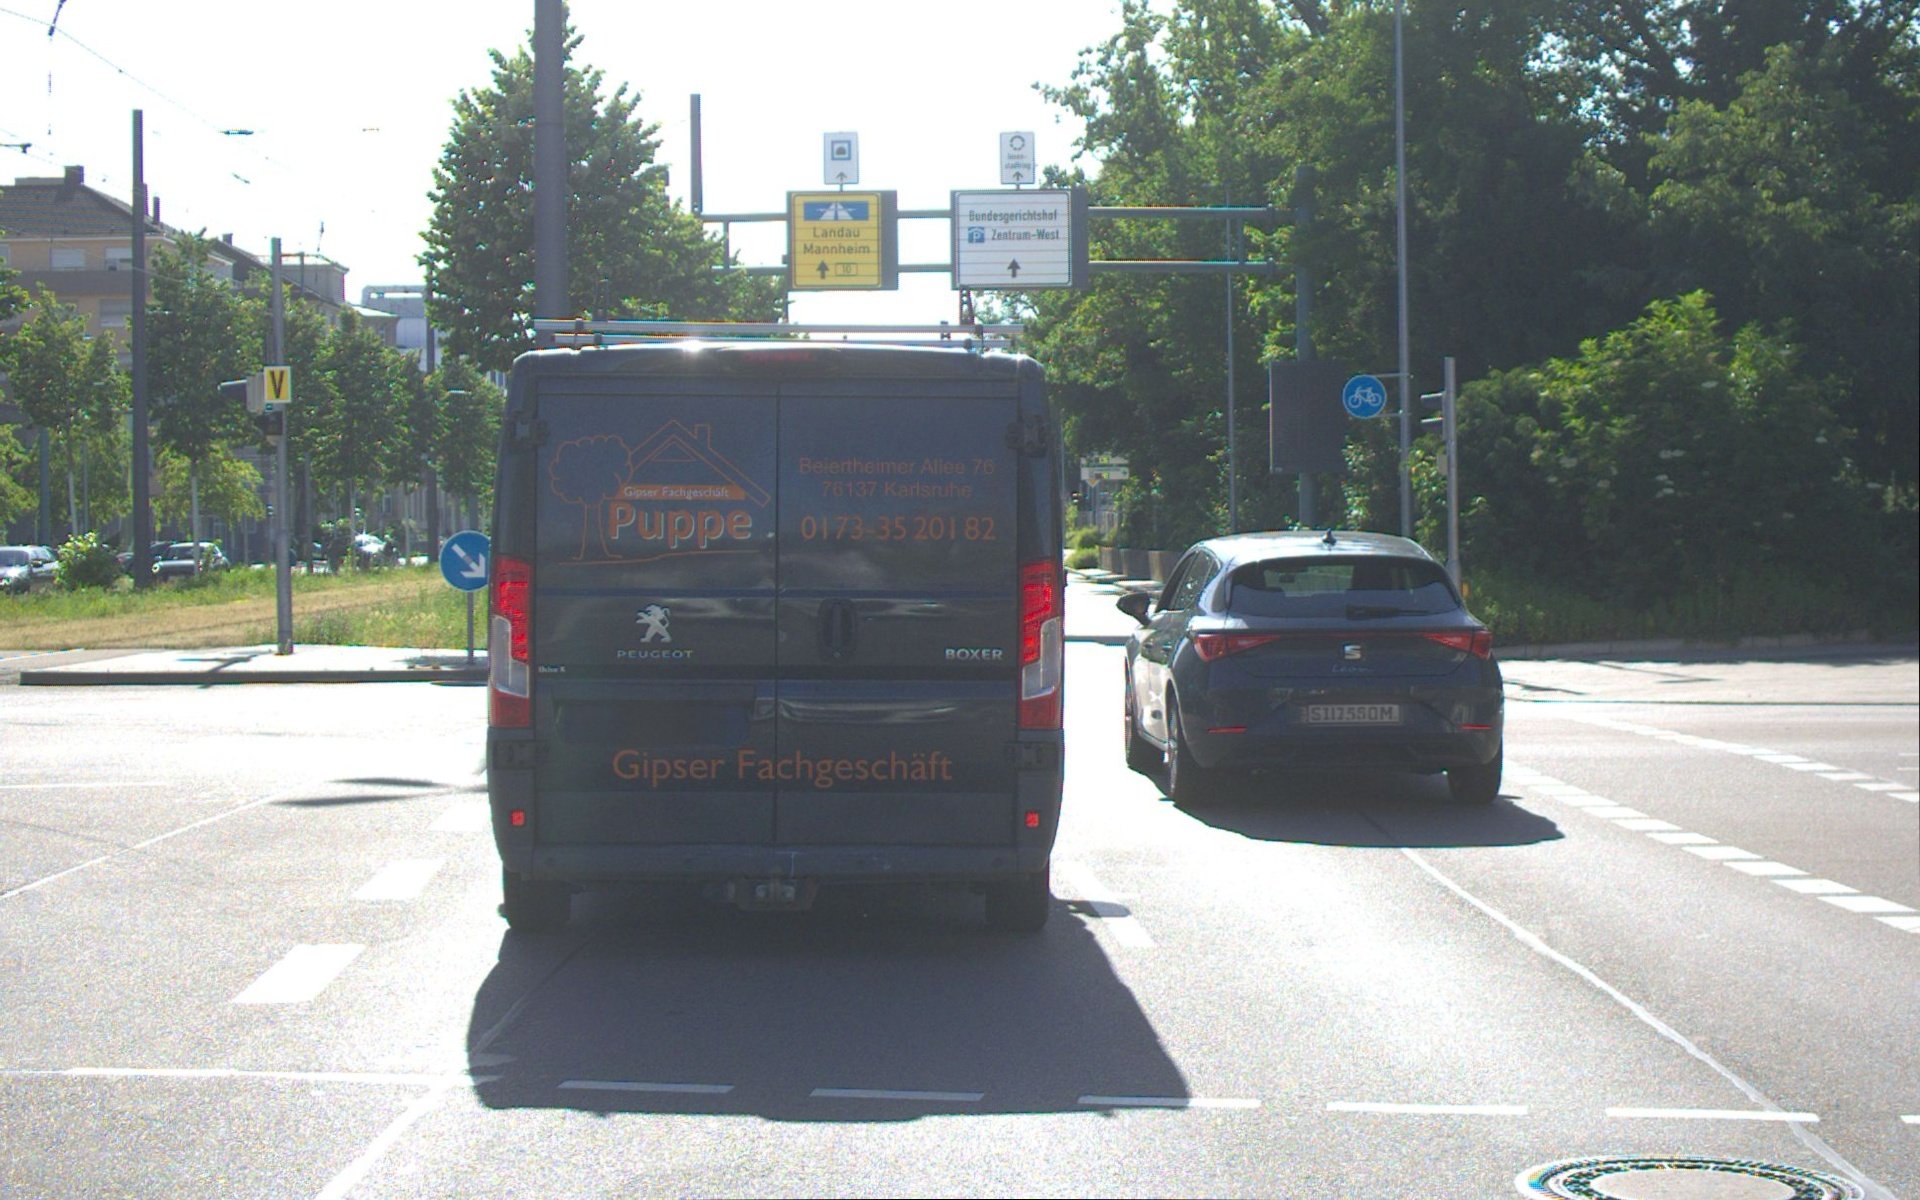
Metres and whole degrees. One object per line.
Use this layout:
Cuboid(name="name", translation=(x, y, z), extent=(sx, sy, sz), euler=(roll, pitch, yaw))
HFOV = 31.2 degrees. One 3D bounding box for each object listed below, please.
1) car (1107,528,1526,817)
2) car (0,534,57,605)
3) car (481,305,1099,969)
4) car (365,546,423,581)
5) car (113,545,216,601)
Cuboid(name="car", translation=(1.891, 0.327, 19.403), extent=(1.763, 1.457, 4.001), euler=(0, 1, -3))
Cuboid(name="car", translation=(-22.220, -0.722, 78.703), extent=(1.993, 1.546, 4.000), euler=(0, 1, 1))
Cuboid(name="car", translation=(-0.621, 0.089, 13.684), extent=(2.082, 2.241, 4.000), euler=(0, 1, -1))
Cuboid(name="car", translation=(-25.760, -1.667, 156.579), extent=(1.993, 1.546, 4.000), euler=(0, 1, 0))
Cuboid(name="car", translation=(-22.972, -0.808, 99.410), extent=(1.993, 1.546, 4.000), euler=(0, 1, 1))
